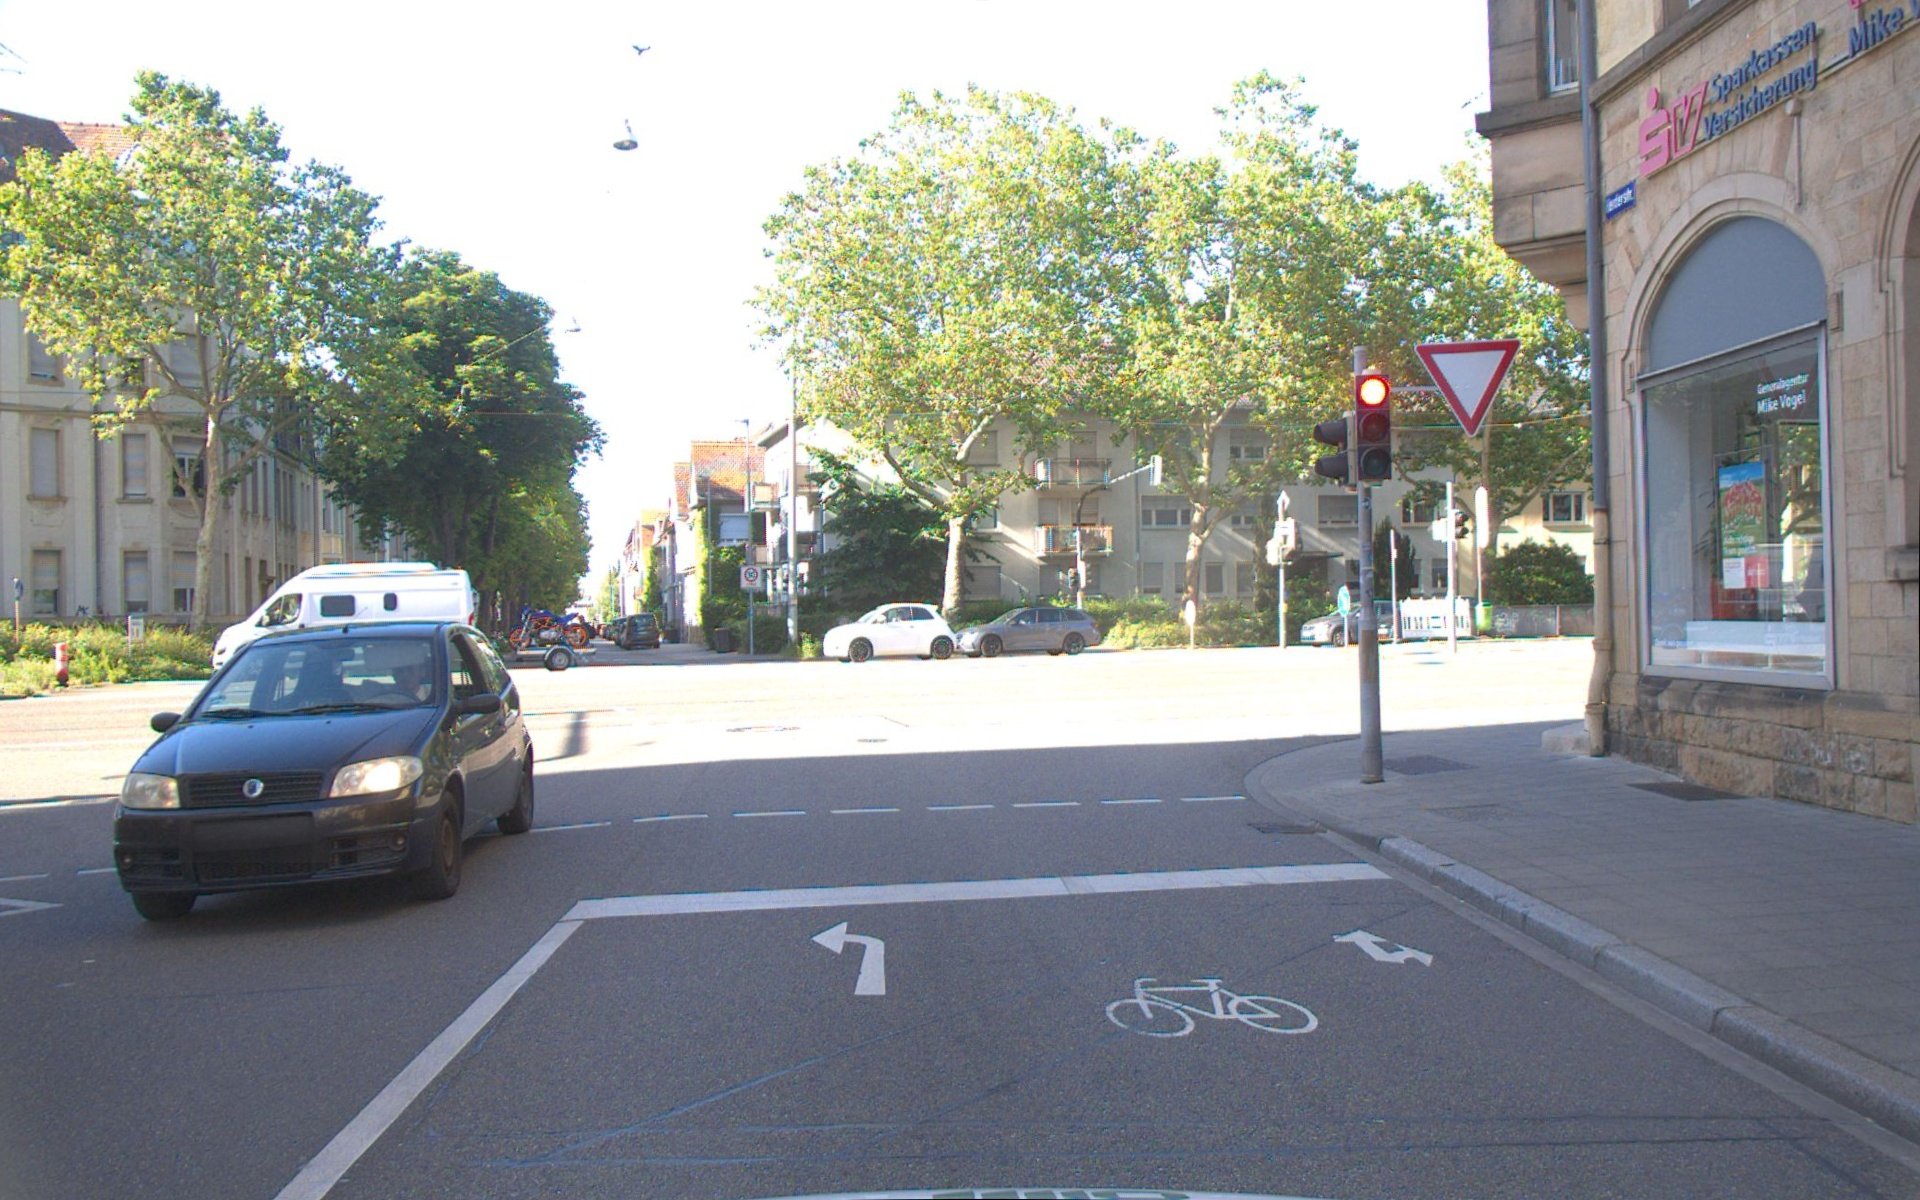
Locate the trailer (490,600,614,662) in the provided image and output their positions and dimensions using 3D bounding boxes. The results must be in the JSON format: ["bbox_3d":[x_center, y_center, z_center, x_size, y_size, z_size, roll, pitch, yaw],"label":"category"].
[{"bbox_3d":[-10.324,0.764,41.799,2.904,1.483,1.505,-1,0,-20],"label":"trailer"}]

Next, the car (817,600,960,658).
[{"bbox_3d":[-1.928,0.766,44.720,3.579,1.483,1.494,-1,0,-21],"label":"car"}]

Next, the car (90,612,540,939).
[{"bbox_3d":[-3.515,0.837,9.679,1.621,1.483,3.636,-1,0,-8],"label":"car"}]

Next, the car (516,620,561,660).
[{"bbox_3d":[-17.835,1.661,70.096,1.669,1.509,3.523,-3,1,-12],"label":"car"}]

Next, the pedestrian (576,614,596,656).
[{"bbox_3d":[-13.246,1.252,58.599,0.691,1.467,0.488,1,-1,-13],"label":"pedestrian"}]

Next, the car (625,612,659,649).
[{"bbox_3d":[-18.146,1.727,94.215,1.742,1.952,3.523,-3,0,-12],"label":"car"}]

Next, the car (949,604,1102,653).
[{"bbox_3d":[1.970,0.835,49.821,4.323,1.339,1.636,-1,0,-21],"label":"car"}]

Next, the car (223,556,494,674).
[{"bbox_3d":[-14.503,0.316,40.165,6.017,2.683,1.885,-1,0,-20],"label":"car"}]

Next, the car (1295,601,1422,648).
[{"bbox_3d":[12.802,0.767,53.195,3.728,1.425,1.635,-1,0,-22],"label":"car"}]

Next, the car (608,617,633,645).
[{"bbox_3d":[-26.238,2.389,127.710,1.742,1.952,3.523,-3,0,-12],"label":"car"}]

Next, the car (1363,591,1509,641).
[{"bbox_3d":[14.554,0.475,50.553,4.207,1.425,1.635,-1,0,-22],"label":"car"}]
